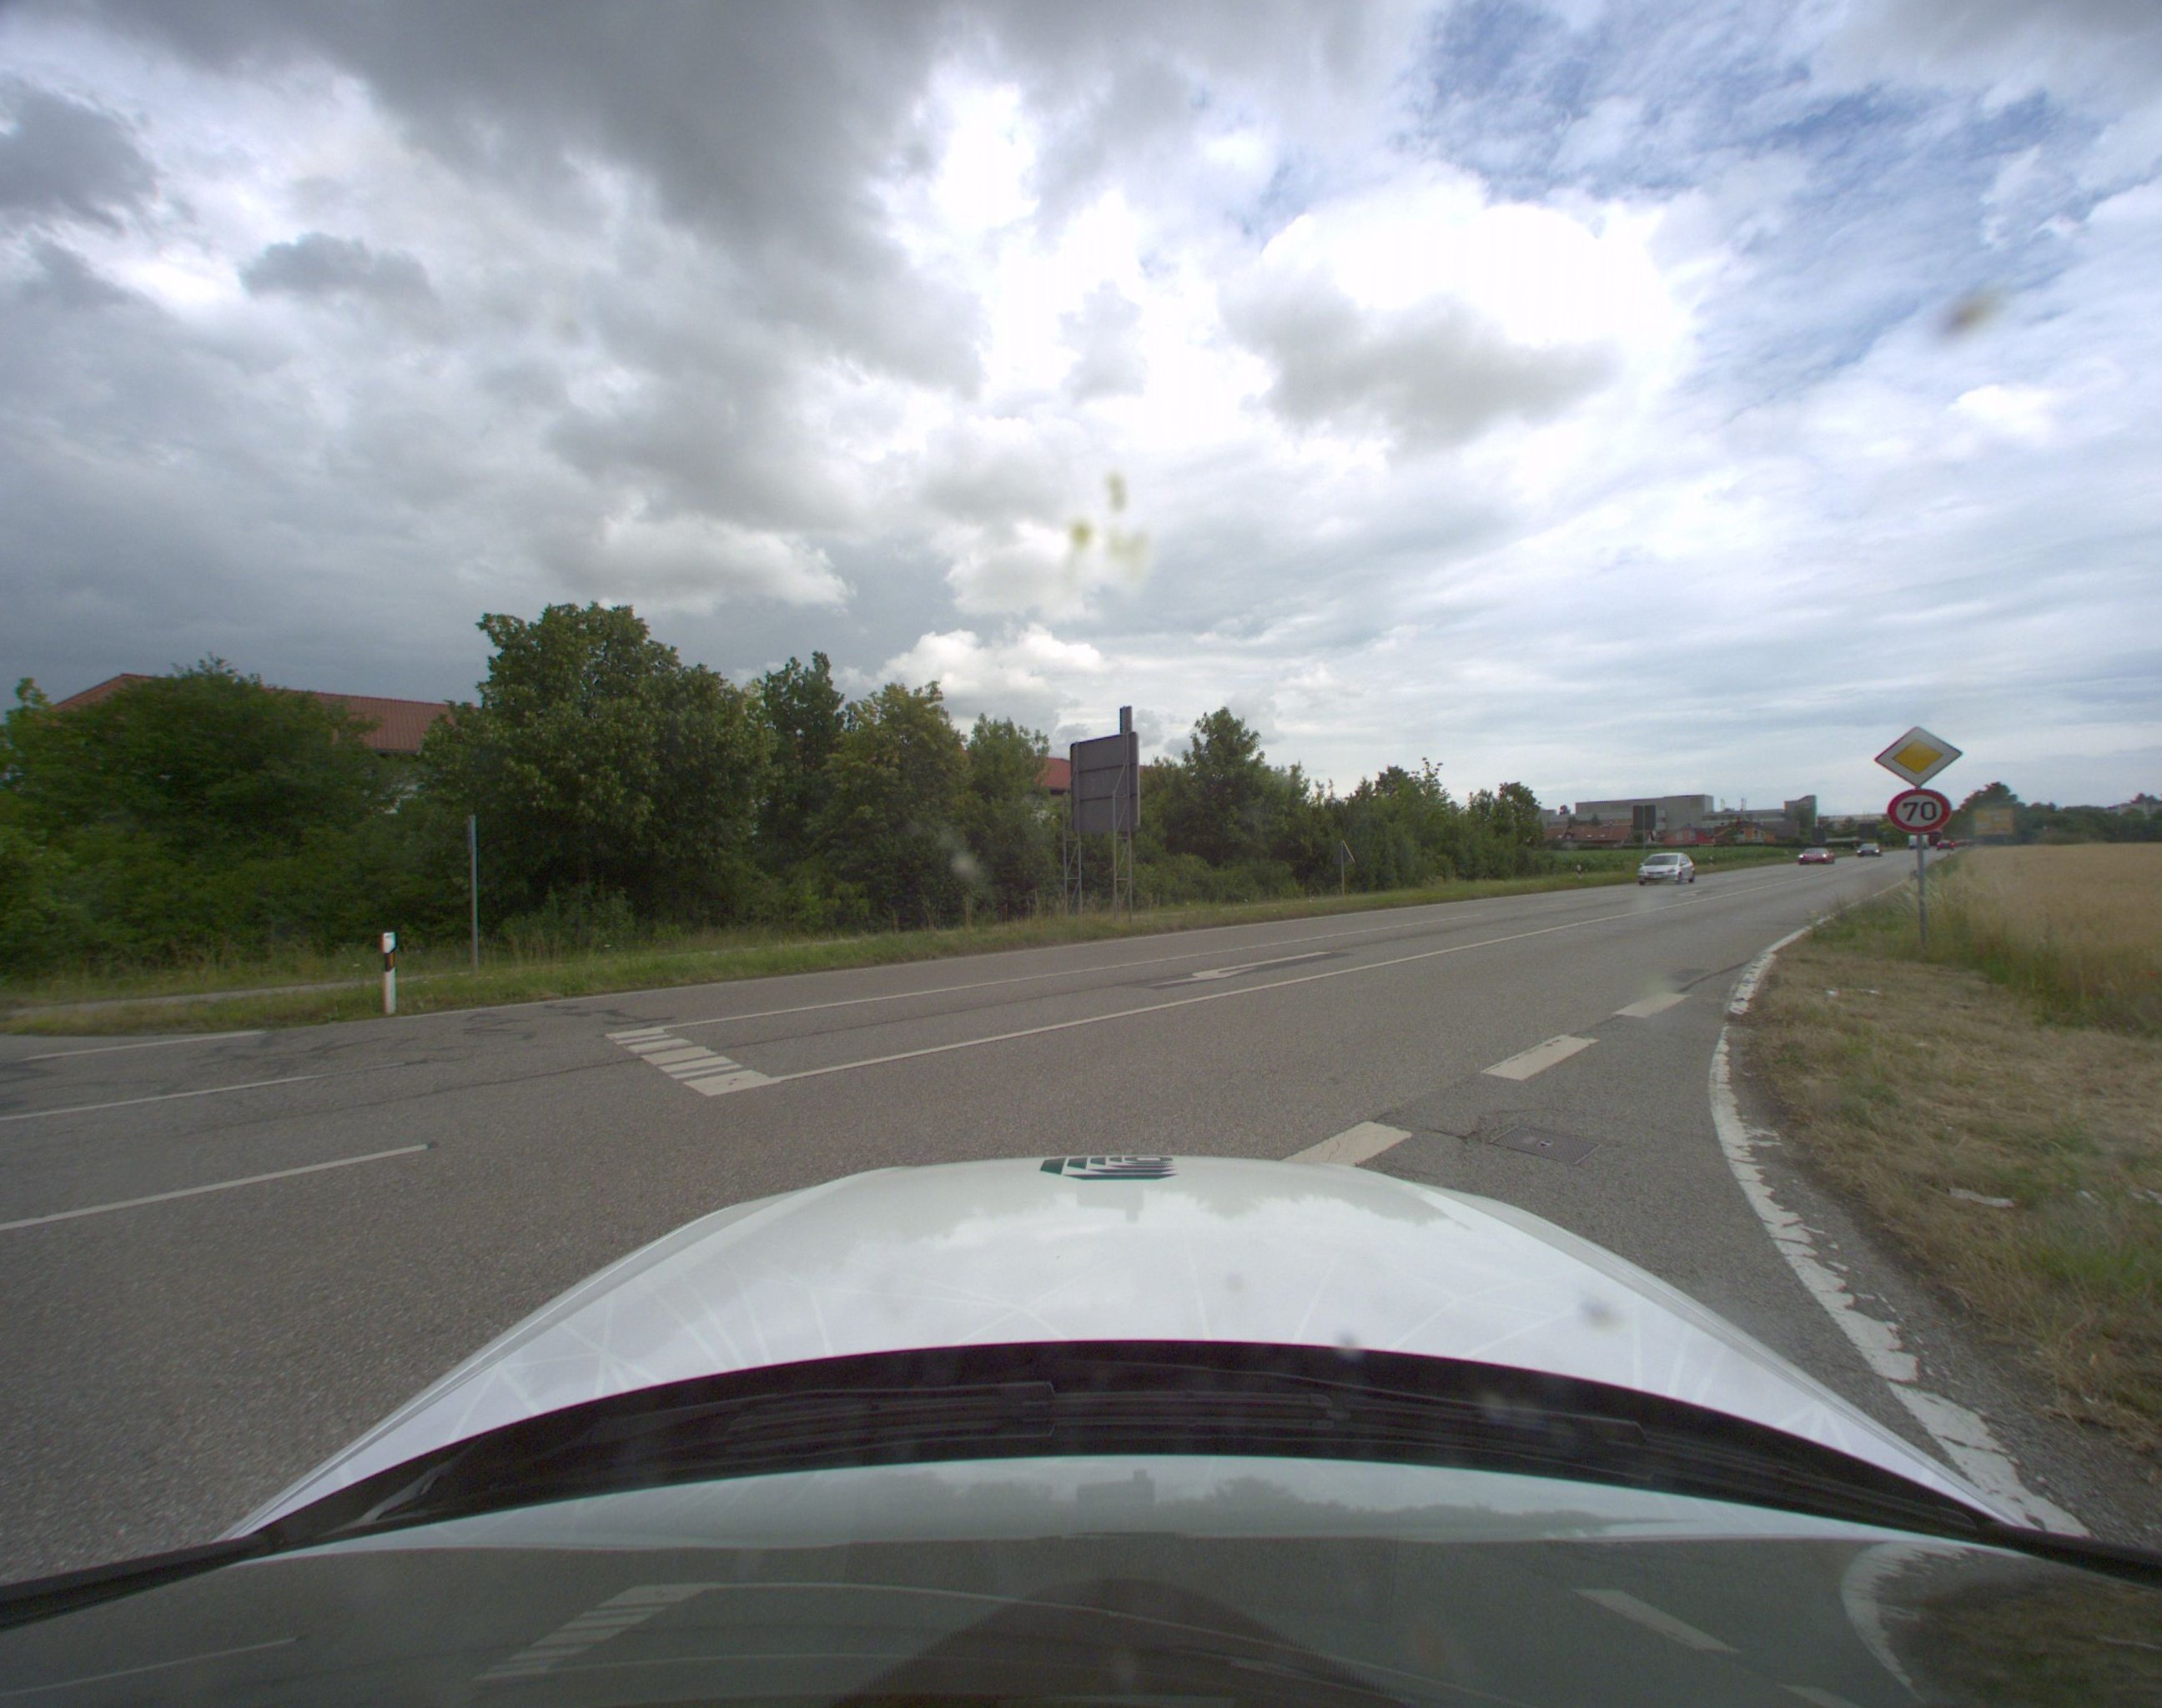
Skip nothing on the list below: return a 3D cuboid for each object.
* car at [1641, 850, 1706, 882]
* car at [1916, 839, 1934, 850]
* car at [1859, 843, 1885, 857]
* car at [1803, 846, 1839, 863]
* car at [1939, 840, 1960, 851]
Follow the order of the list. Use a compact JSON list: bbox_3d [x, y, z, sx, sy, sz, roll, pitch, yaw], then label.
[{"bbox_3d":[28.582,0.565,39.238,3.956,1.432,1.714,-1,-2,-42],"label":"car"},{"bbox_3d":[146.926,-1.651,141.775,4.700,1.699,1.976,-1,-1,-41],"label":"car"},{"bbox_3d":[87.609,-0.459,90.183,4.326,1.429,1.654,-1,-2,-42],"label":"car"},{"bbox_3d":[59.492,0.048,65.474,4.235,1.241,1.755,-1,-1,-43],"label":"car"},{"bbox_3d":[132.108,-1.313,123.820,4.020,1.566,1.843,-1,0,-39],"label":"car"}]
